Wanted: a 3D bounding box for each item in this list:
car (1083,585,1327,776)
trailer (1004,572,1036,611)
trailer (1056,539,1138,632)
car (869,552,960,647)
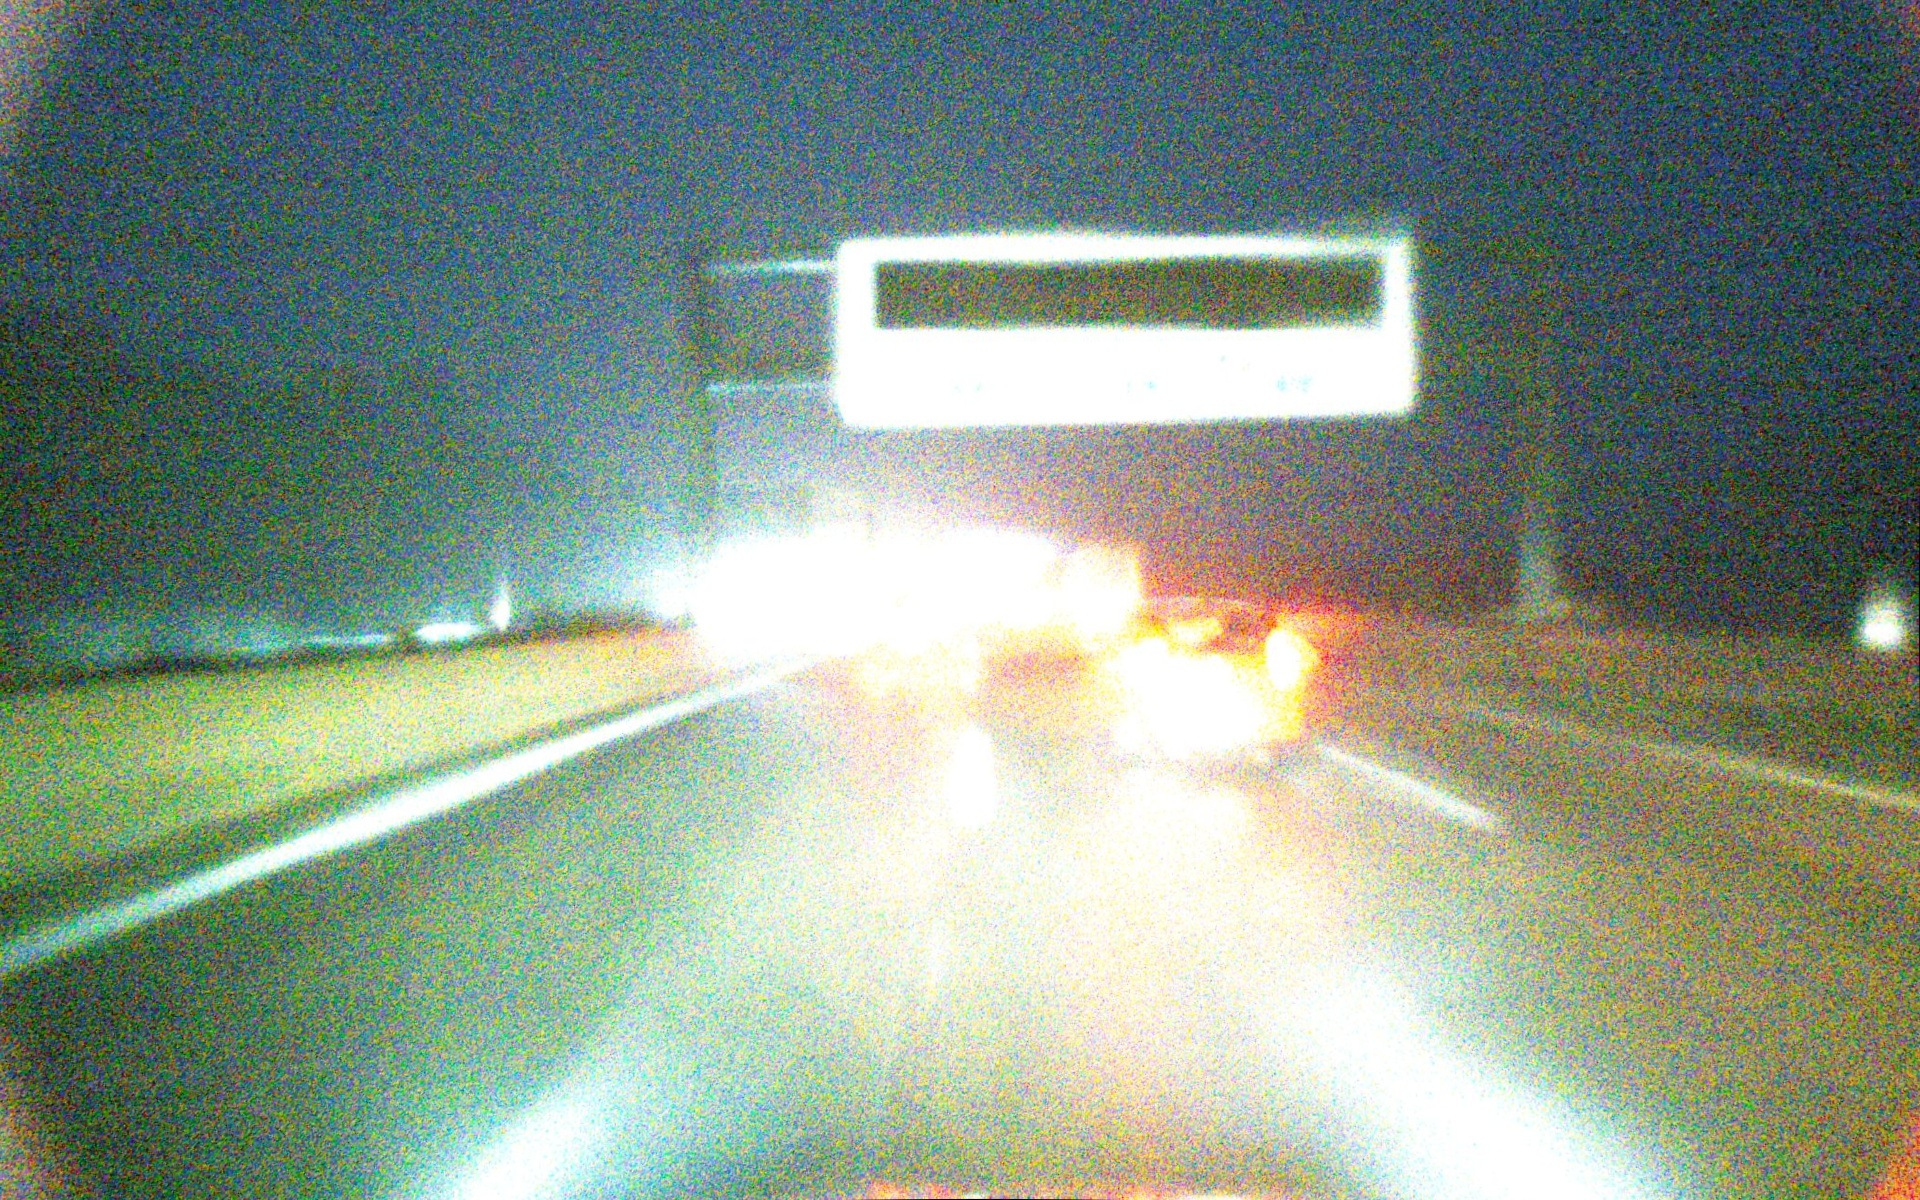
[{"bbox_3d":[2.224,0.722,16.111,1.705,1.603,4.493,0,-1,0],"label":"car"},{"bbox_3d":[7.142,-0.951,199.273,2.979,4.181,13.823,-2,-1,-1],"label":"trailer"},{"bbox_3d":[6.658,-0.566,82.608,2.843,4.181,14.486,-1,-1,0],"label":"trailer"},{"bbox_3d":[-0.994,-0.055,37.914,1.953,2.048,4.000,0,1,0],"label":"car"}]
